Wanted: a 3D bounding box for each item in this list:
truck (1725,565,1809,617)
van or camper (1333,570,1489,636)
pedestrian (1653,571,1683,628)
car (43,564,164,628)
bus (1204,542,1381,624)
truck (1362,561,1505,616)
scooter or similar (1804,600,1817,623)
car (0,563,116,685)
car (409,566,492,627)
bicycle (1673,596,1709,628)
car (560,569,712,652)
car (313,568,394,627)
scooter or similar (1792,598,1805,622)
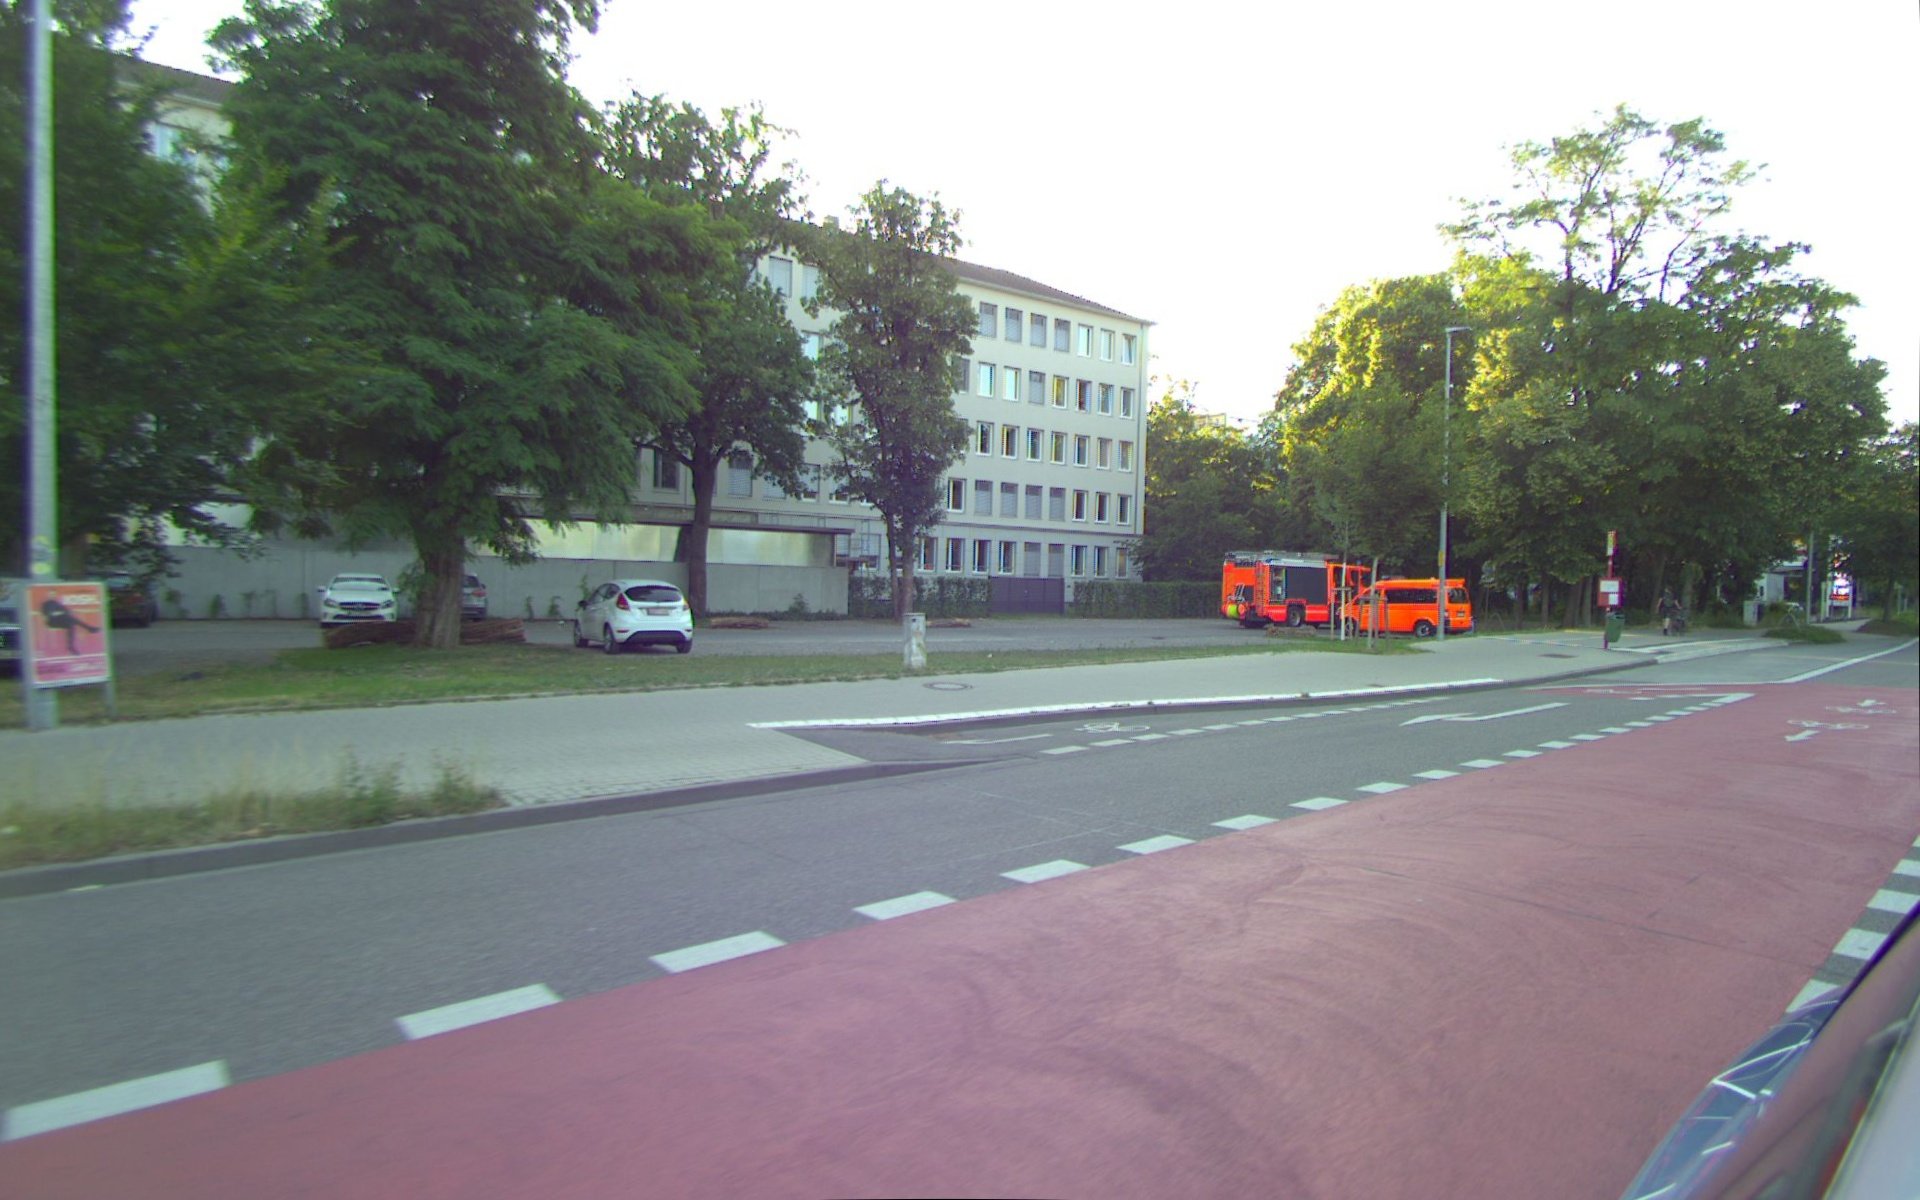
[{"bbox_3d":[63.626,-0.651,79.587,15.622,3.776,3.221,0,0,-44],"label":"truck"},{"bbox_3d":[16.555,0.064,37.406,2.250,2.273,4.831,0,0,-33],"label":"van or camper"},{"bbox_3d":[26.144,-0.020,37.382,0.683,2.038,0.724,1,2,-43],"label":"pedestrian"},{"bbox_3d":[-21.110,-0.110,25.106,1.866,1.460,4.001,0,0,-34],"label":"car"},{"bbox_3d":[14.333,-0.685,43.445,7.809,3.236,2.999,0,0,-33],"label":"bus"},{"bbox_3d":[30.427,-0.816,65.560,2.703,3.251,8.682,1,1,-23],"label":"truck"},{"bbox_3d":[48.511,0.653,57.696,0.482,1.298,1.123,4,2,41],"label":"scooter or similar"},{"bbox_3d":[-14.095,0.249,15.242,1.866,1.466,4.584,-2,4,-37],"label":"car"},{"bbox_3d":[-14.954,-0.130,29.594,1.875,1.637,4.003,0,1,-31],"label":"car"},{"bbox_3d":[26.603,0.439,36.825,0.830,1.111,1.938,-3,-2,42],"label":"bicycle"},{"bbox_3d":[-6.839,0.176,21.116,1.876,1.557,3.999,0,0,-36],"label":"car"},{"bbox_3d":[-16.761,-0.082,27.916,1.797,1.494,4.002,0,0,-32],"label":"car"},{"bbox_3d":[47.160,0.566,56.904,0.482,1.298,1.213,4,2,41],"label":"scooter or similar"}]
